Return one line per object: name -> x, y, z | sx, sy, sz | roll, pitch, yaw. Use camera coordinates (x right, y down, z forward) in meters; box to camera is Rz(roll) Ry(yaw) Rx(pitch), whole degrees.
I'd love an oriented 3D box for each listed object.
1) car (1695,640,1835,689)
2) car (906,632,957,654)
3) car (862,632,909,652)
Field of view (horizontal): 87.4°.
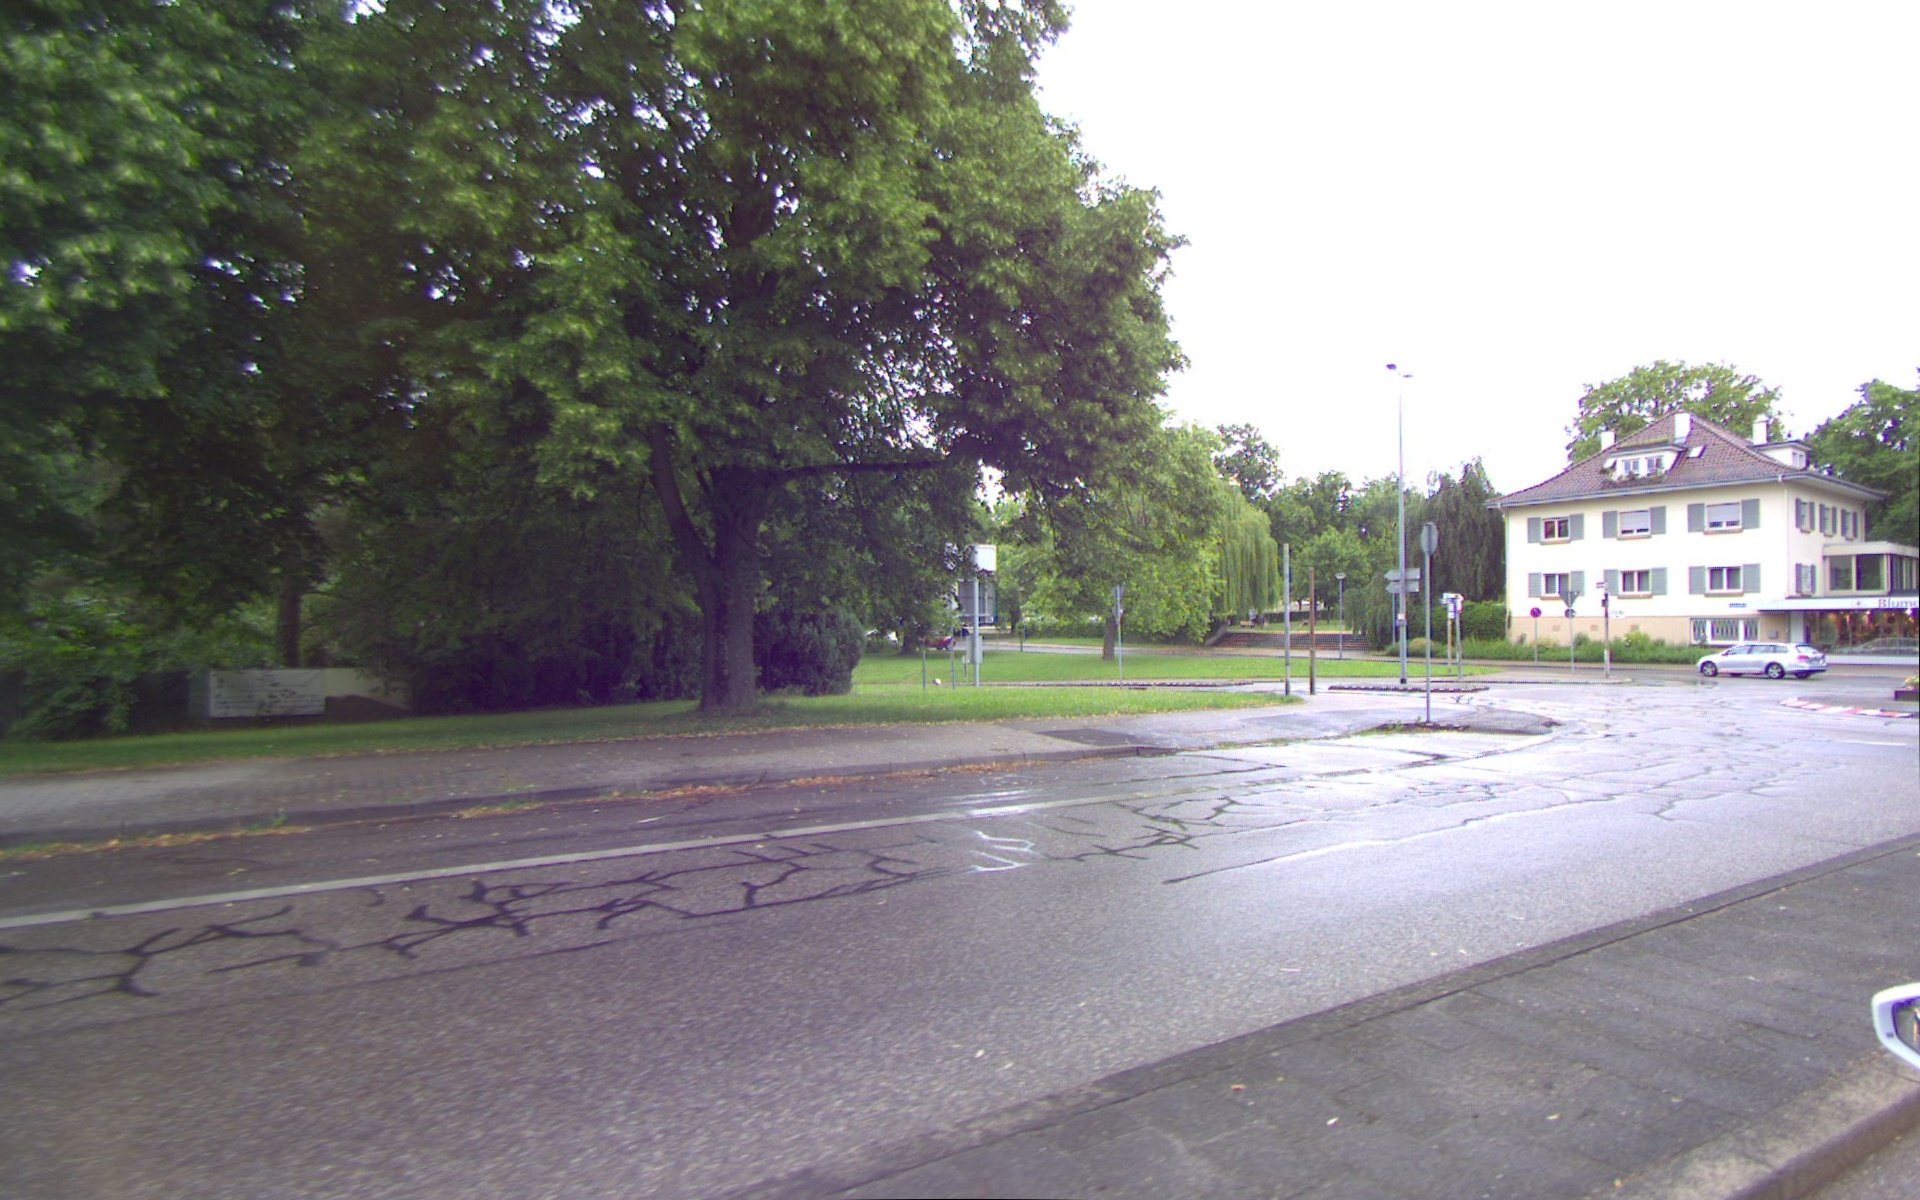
car -> 33.145, 2.622, 41.498 | 1.968, 1.764, 4.128 | 2, -1, -17
car -> -2.261, 3.386, 79.683 | 3.596, 1.615, 1.790 | 2, -1, -32
car -> -6.384, 3.629, 85.926 | 3.596, 1.615, 1.790 | 2, -1, -32
